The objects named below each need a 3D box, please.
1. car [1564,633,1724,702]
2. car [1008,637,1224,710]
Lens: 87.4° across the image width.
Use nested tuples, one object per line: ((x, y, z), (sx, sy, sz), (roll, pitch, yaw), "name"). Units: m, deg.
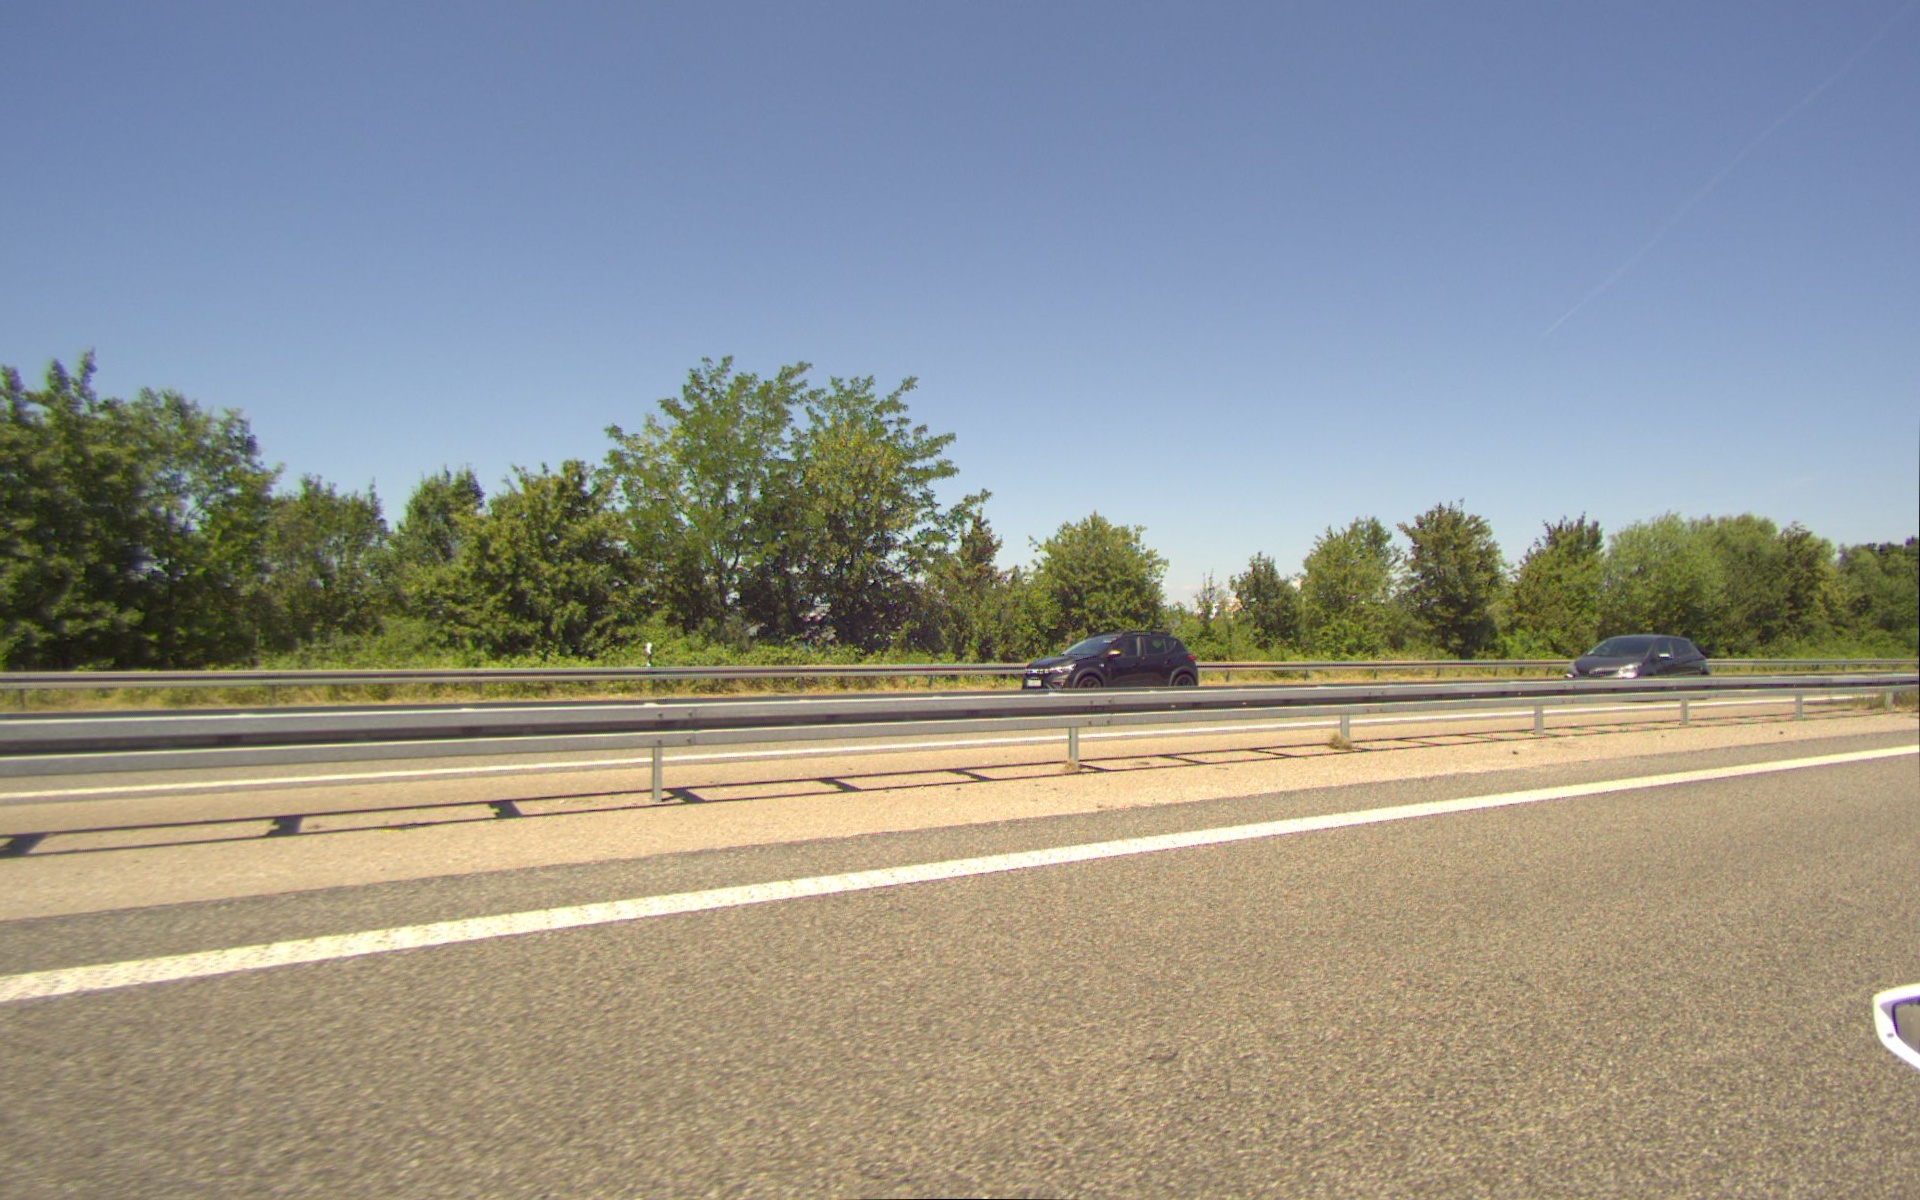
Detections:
((15.963, 1.528, 23.403), (3.999, 1.481, 1.545), (2, -2, -31), "car")
((3.391, 1.531, 21.623), (4.479, 1.420, 1.854), (2, -3, -31), "car")
